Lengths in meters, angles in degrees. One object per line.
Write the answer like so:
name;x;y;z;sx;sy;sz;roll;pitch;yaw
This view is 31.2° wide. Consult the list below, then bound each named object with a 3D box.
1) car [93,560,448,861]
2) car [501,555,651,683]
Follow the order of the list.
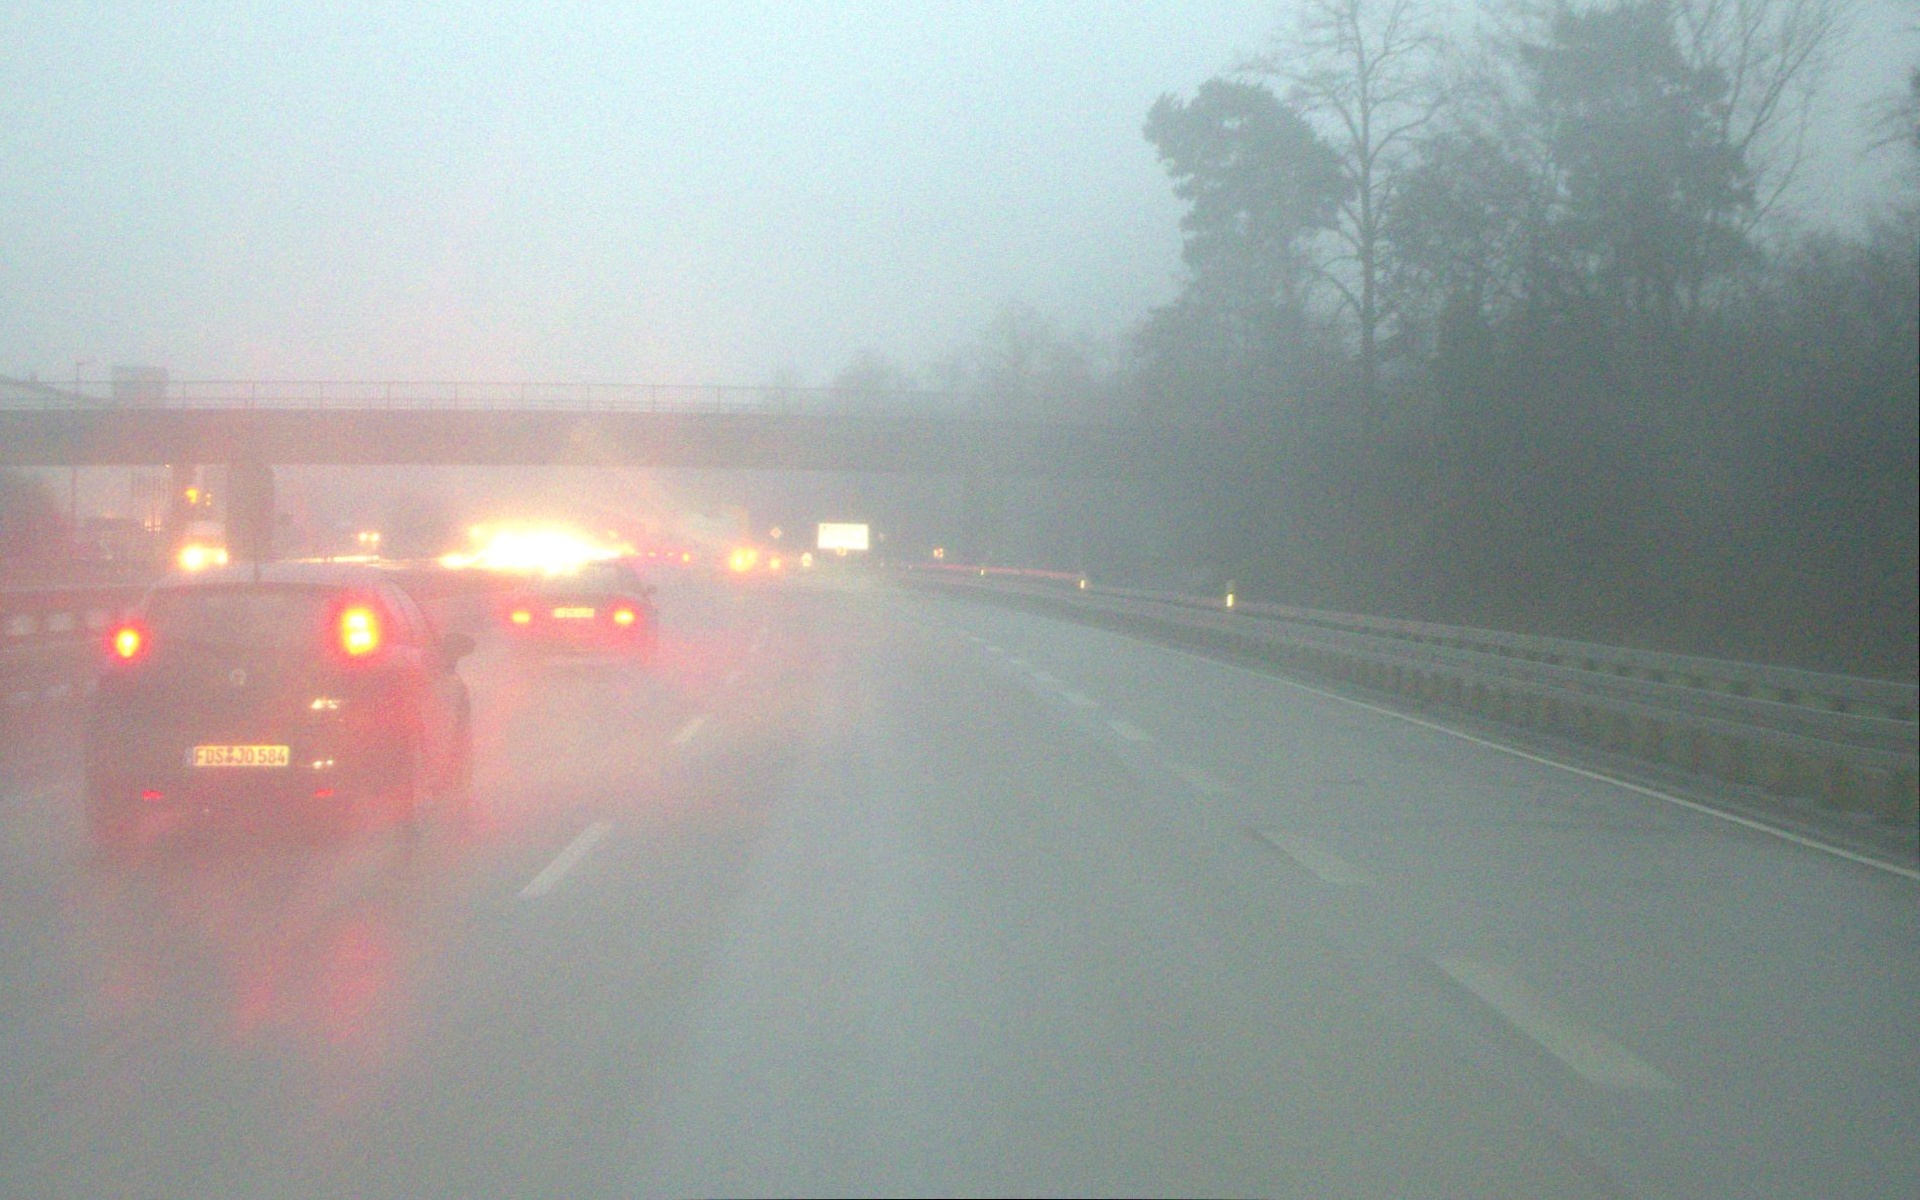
car;-3.765;0.546;19.235;1.527;1.411;3.480;3;1;-5
car;-4.903;0.201;44.369;1.775;1.529;4.703;-1;1;-5
